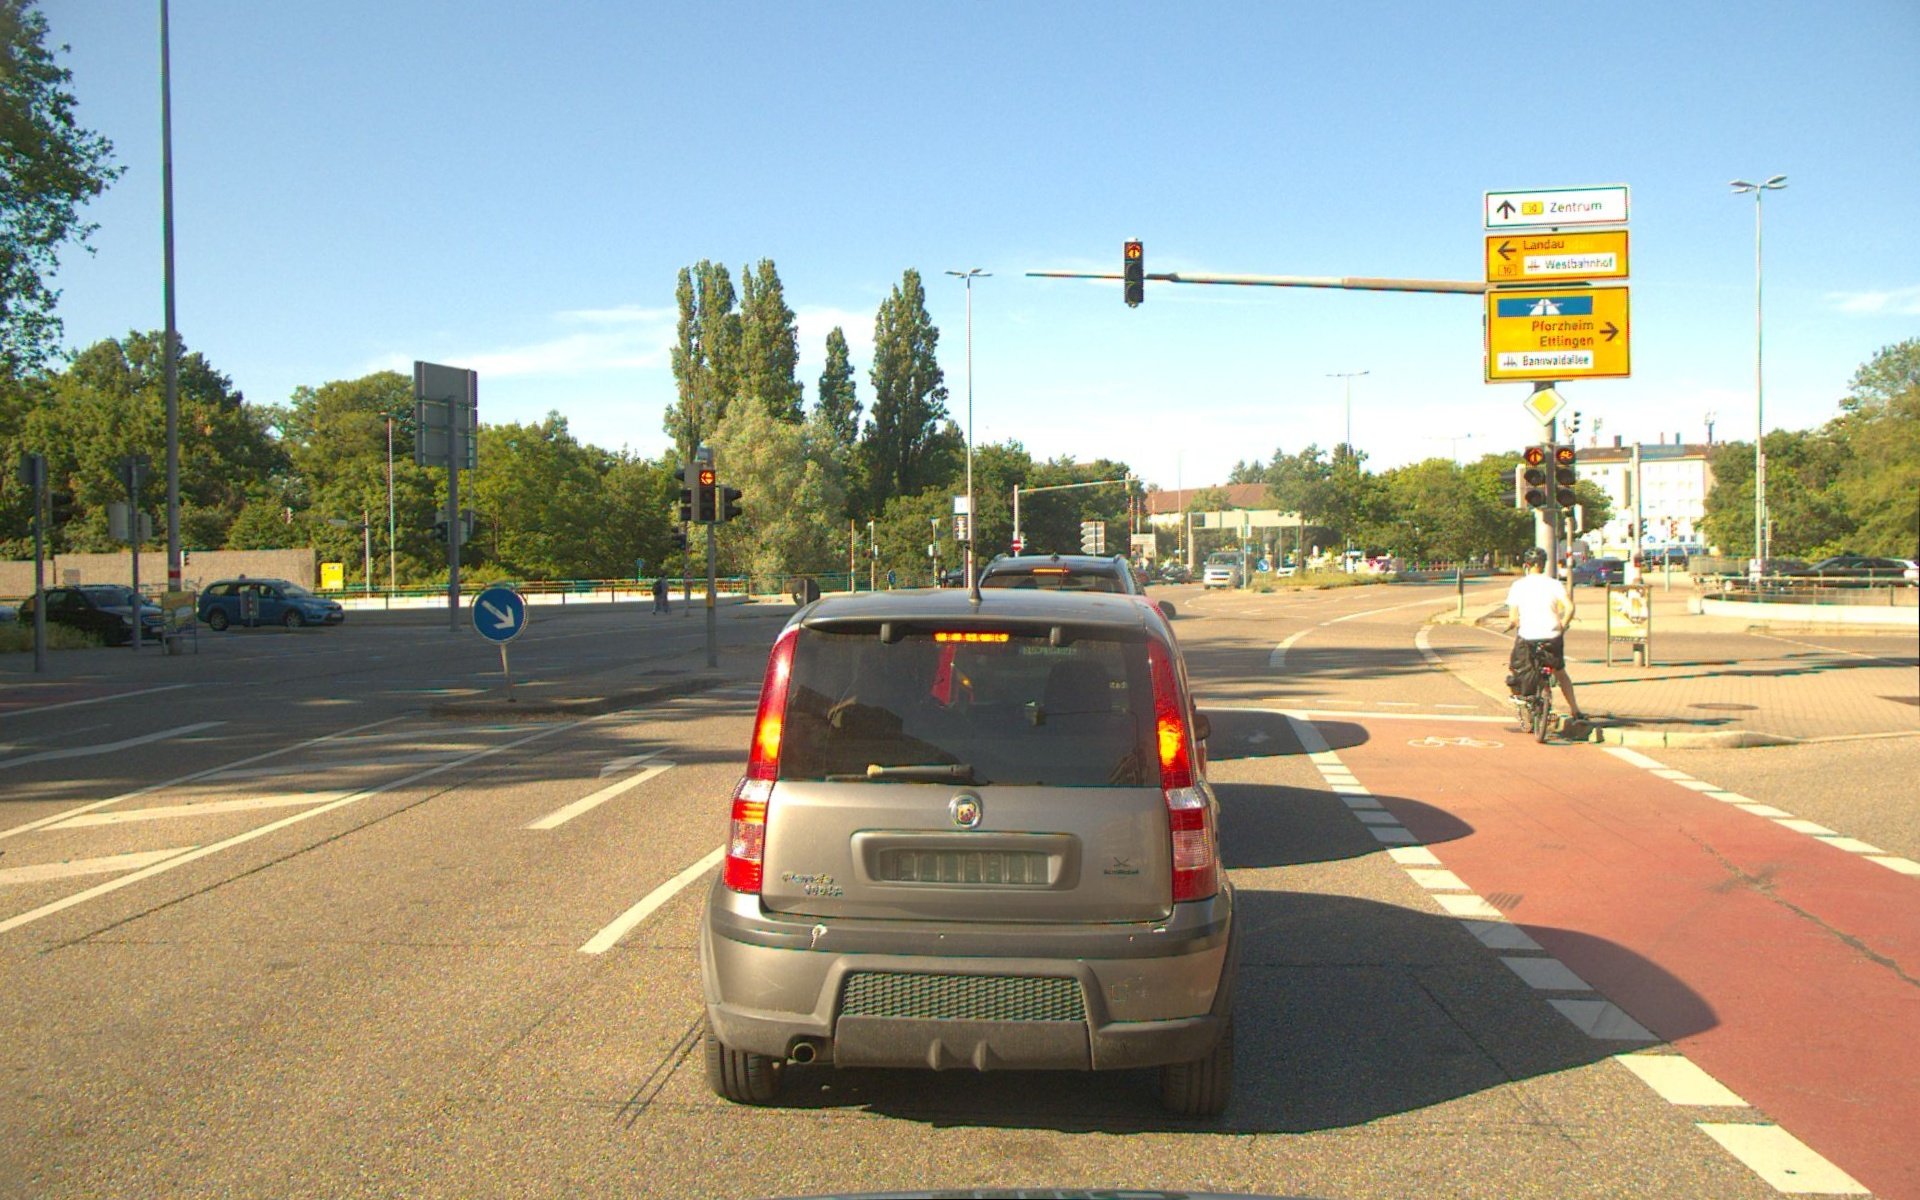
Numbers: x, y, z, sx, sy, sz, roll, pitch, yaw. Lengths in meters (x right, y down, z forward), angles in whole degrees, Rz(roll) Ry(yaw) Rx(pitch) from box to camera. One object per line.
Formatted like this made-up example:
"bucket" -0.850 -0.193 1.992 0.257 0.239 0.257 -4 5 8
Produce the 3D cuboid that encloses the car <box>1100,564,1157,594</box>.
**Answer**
"car" 11.578 -1.437 113.595 1.976 1.887 4.874 -1 -2 32

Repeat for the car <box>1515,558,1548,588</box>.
"car" 37.383 -1.721 108.143 1.952 1.781 4.000 0 -2 20

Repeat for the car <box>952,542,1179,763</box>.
"car" 1.169 0.393 16.088 1.829 1.821 4.418 1 1 8

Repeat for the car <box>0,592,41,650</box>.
"car" -26.419 0.566 43.242 4.345 1.464 1.826 -1 1 22

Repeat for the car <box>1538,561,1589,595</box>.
"car" 34.059 -1.209 93.474 1.951 1.781 4.003 0 -1 9

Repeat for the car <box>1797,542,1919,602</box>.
"car" 33.190 -0.994 60.926 3.922 2.049 1.991 -1 -2 38

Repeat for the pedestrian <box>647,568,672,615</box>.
"pedestrian" -10.709 -0.286 58.958 0.673 1.565 1.365 0 -4 -3

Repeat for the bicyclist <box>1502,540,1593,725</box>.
"bicyclist" 5.749 0.288 16.157 0.783 1.734 1.085 1 2 21

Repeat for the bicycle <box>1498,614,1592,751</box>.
"bicycle" 5.710 0.750 16.072 0.783 1.130 2.402 1 2 21

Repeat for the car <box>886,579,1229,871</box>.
"car" 0.583 0.641 10.700 1.782 1.505 4.001 1 0 2

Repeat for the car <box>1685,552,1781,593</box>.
"car" 34.380 -1.250 73.679 1.957 1.690 3.992 -2 2 -10

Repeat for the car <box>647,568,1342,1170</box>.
"car" 0.182 0.671 6.337 1.782 1.515 4.002 2 1 3

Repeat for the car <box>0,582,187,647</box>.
"car" -21.023 0.357 39.896 4.345 1.464 1.826 -1 1 22

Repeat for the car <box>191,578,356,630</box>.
"car" -20.697 0.114 49.918 4.342 1.464 1.828 -1 1 14

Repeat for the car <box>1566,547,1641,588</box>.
"car" 32.988 -1.647 84.919 1.971 1.887 4.886 0 -1 1

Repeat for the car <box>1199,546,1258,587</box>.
"car" 14.211 -1.739 87.412 1.972 1.887 4.884 0 -2 23
